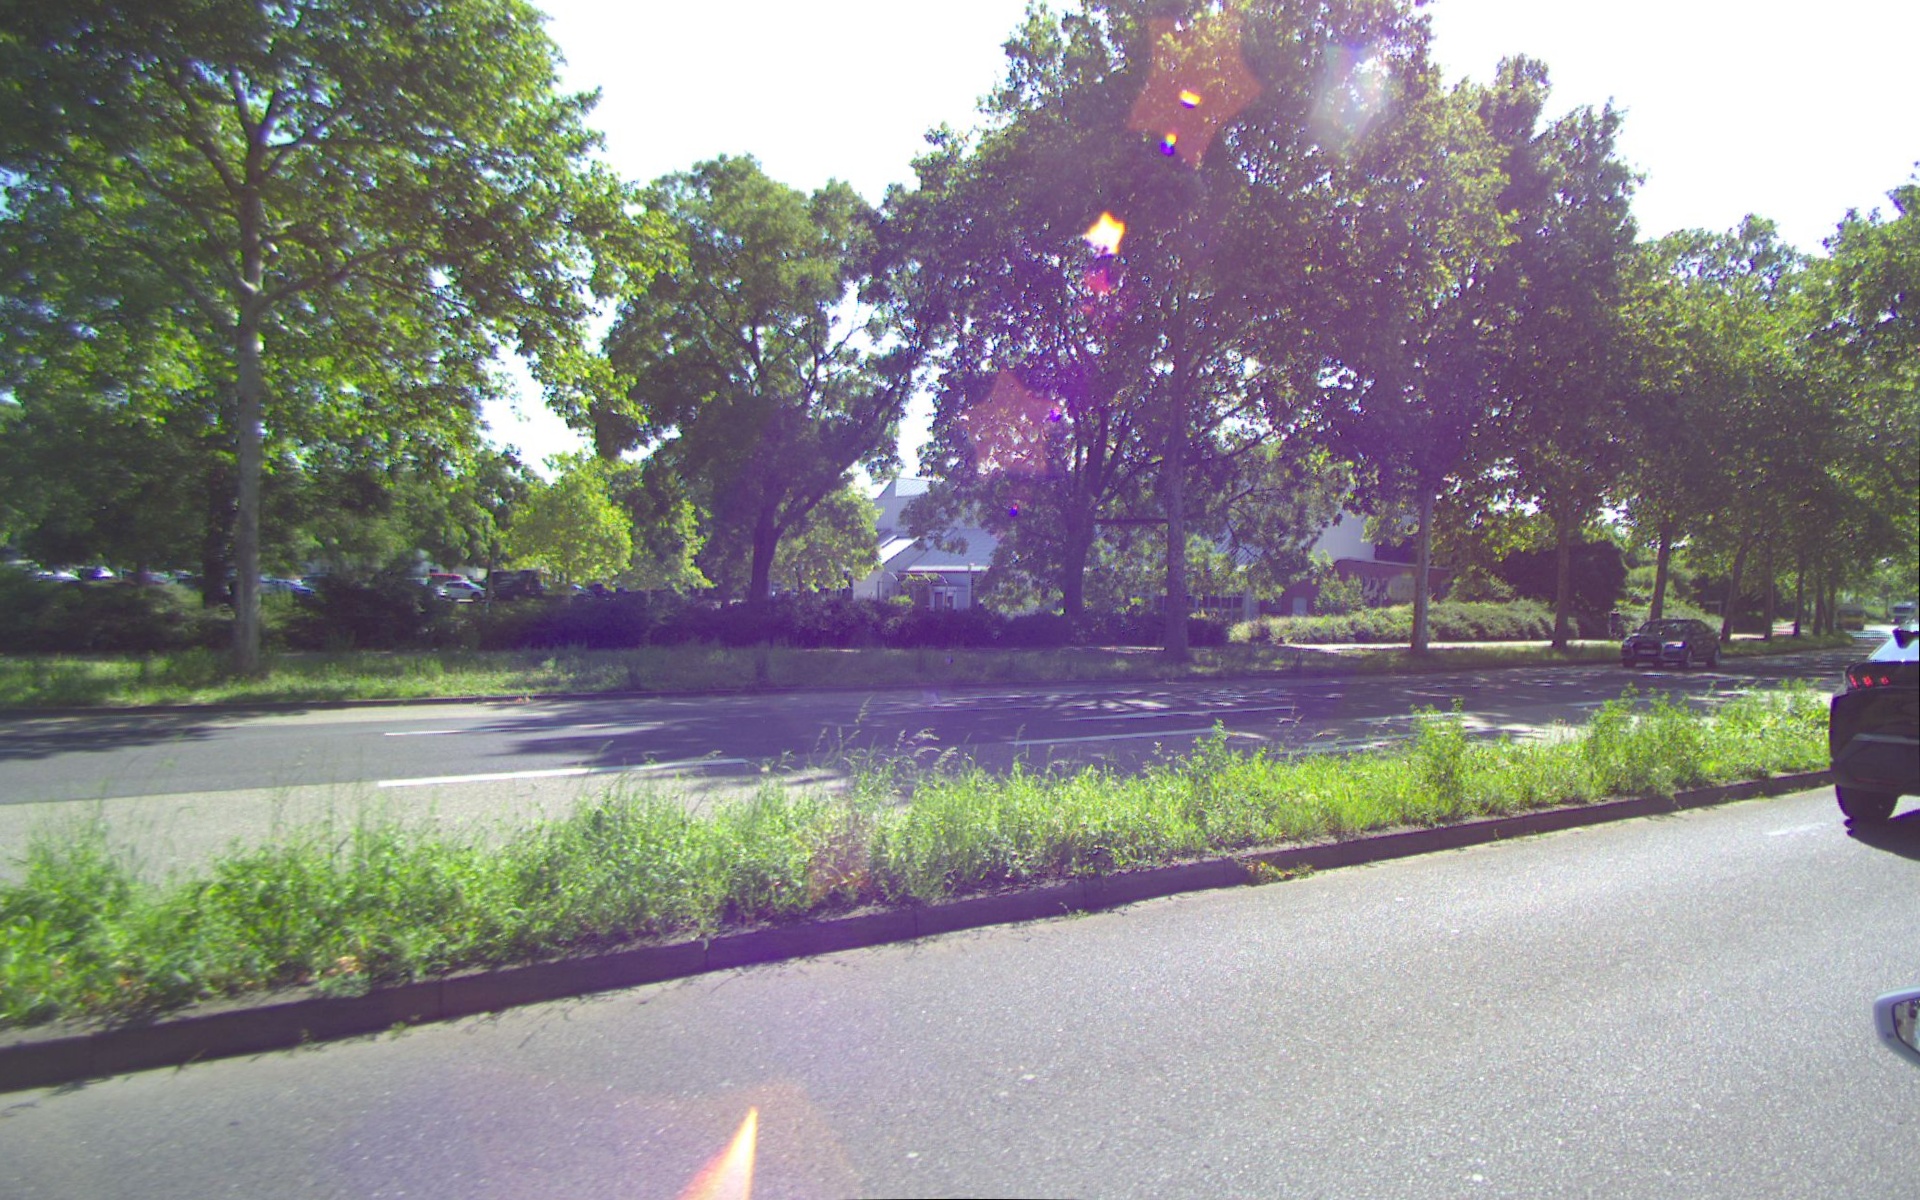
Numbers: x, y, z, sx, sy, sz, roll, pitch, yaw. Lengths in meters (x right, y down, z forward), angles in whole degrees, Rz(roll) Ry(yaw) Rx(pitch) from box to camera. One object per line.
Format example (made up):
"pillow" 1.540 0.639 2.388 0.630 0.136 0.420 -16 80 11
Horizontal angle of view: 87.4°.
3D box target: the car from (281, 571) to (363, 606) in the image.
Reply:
"car" -39.446 -0.715 62.178 3.920 2.040 1.818 1 0 3

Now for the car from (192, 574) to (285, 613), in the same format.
"car" -40.138 -0.373 55.928 3.920 2.040 1.818 1 0 3

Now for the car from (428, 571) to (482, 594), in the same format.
"car" -44.630 -1.529 88.769 3.850 1.863 1.771 2 0 4

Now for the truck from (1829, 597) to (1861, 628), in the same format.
"truck" 104.853 1.404 119.067 2.421 3.496 7.064 4 3 40

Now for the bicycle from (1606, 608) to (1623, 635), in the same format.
"bicycle" 34.481 1.147 52.926 0.946 1.403 0.425 1 1 -37

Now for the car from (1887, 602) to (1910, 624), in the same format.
"car" 157.021 2.123 168.077 2.423 3.496 7.059 4 3 42

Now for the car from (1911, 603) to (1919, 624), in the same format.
"car" 165.859 2.375 173.604 2.035 3.480 6.729 2 0 43

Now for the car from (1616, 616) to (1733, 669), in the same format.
"car" 23.273 1.357 32.687 4.352 1.577 1.782 2 -1 -35

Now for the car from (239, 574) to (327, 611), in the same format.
"car" -39.526 -0.444 58.699 3.920 2.040 1.818 1 0 3

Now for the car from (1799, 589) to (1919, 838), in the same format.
"car" 8.632 0.844 7.892 4.386 1.719 1.862 2 -1 -32

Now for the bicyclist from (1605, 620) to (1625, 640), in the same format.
"bicyclist" 34.496 1.568 52.930 1.412 1.027 0.425 1 0 -38

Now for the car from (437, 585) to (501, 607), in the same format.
"car" -36.821 -0.318 75.408 3.921 1.511 1.818 1 0 0
